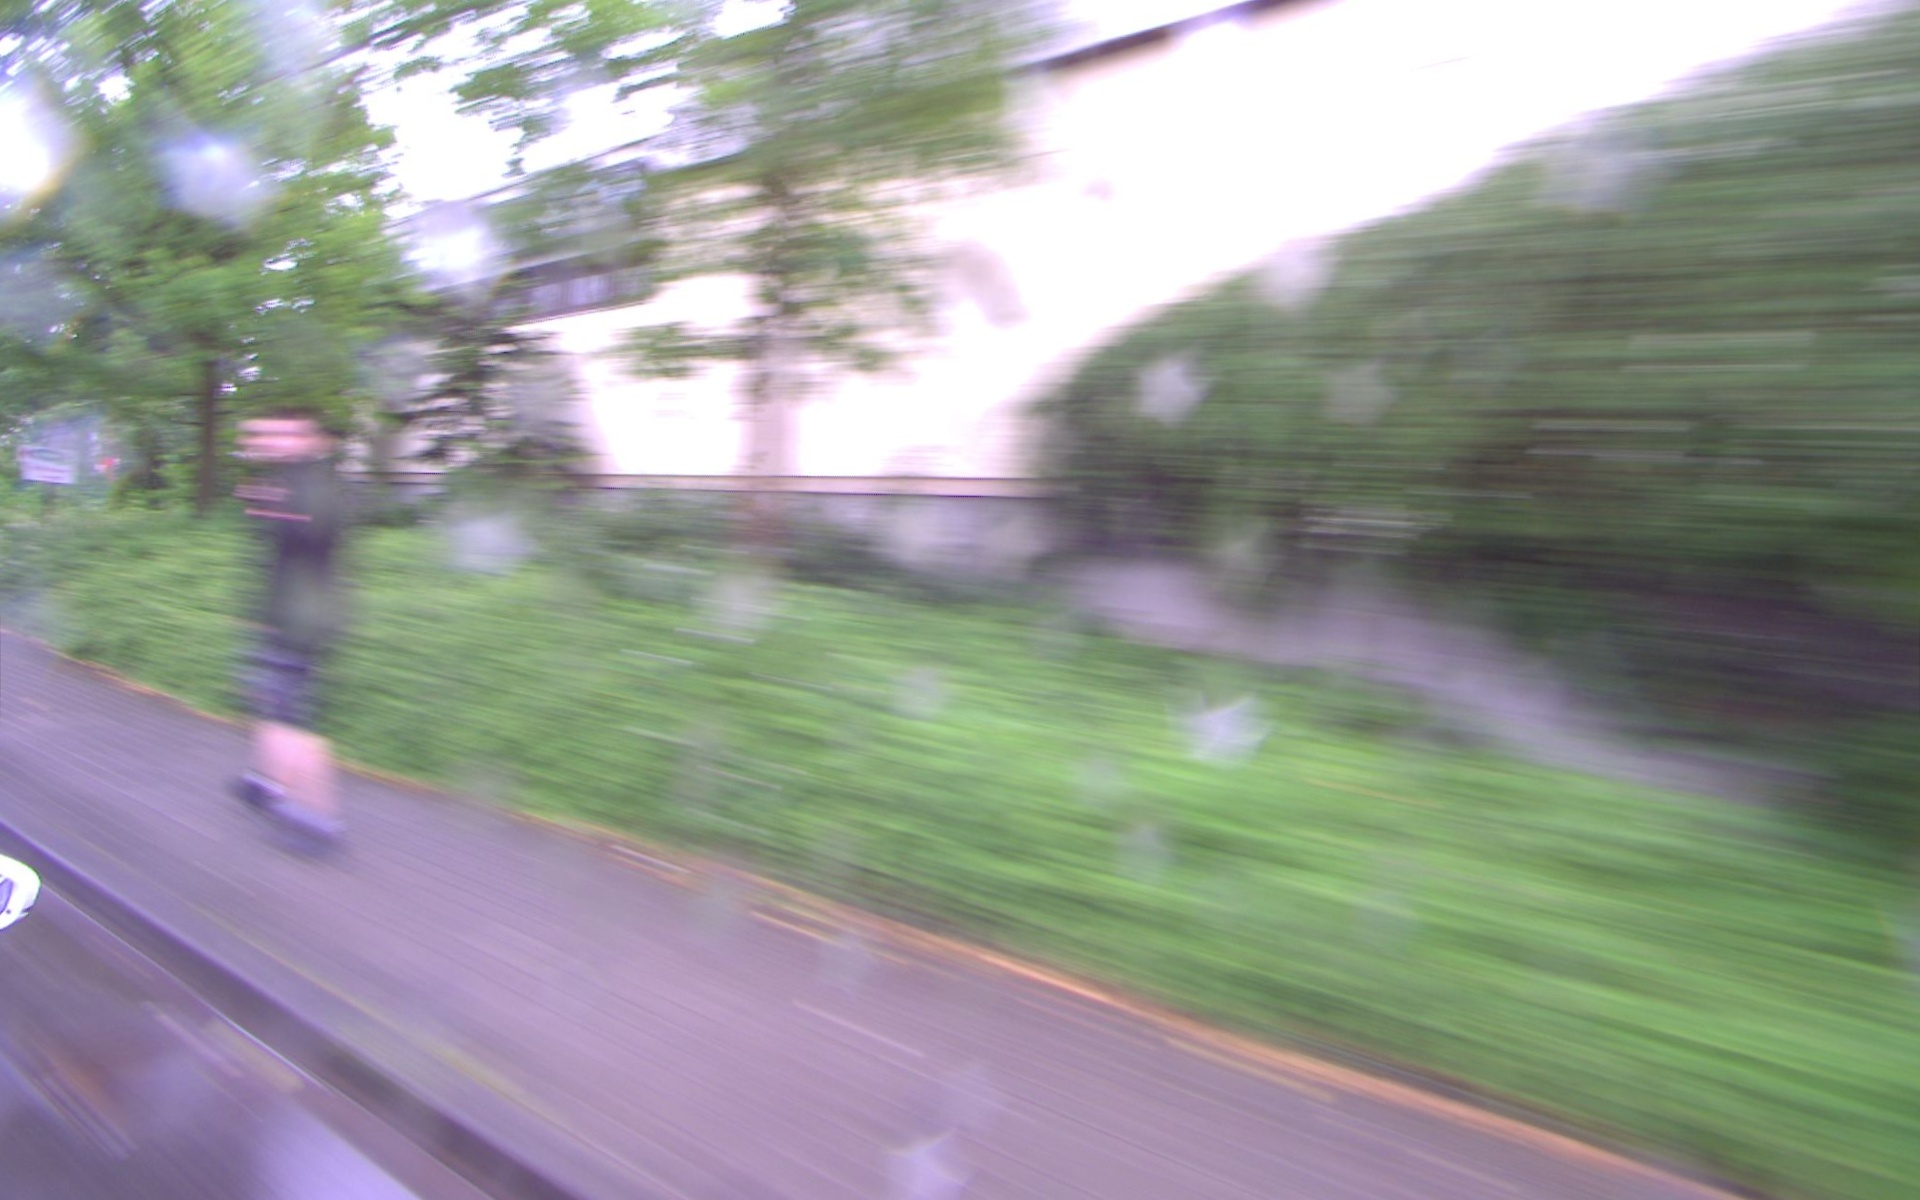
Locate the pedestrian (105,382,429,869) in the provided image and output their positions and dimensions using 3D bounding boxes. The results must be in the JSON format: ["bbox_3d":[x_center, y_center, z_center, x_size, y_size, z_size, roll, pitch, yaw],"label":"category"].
[{"bbox_3d":[-2.997,0.077,4.365,0.875,1.861,0.746,7,2,31],"label":"pedestrian"}]
